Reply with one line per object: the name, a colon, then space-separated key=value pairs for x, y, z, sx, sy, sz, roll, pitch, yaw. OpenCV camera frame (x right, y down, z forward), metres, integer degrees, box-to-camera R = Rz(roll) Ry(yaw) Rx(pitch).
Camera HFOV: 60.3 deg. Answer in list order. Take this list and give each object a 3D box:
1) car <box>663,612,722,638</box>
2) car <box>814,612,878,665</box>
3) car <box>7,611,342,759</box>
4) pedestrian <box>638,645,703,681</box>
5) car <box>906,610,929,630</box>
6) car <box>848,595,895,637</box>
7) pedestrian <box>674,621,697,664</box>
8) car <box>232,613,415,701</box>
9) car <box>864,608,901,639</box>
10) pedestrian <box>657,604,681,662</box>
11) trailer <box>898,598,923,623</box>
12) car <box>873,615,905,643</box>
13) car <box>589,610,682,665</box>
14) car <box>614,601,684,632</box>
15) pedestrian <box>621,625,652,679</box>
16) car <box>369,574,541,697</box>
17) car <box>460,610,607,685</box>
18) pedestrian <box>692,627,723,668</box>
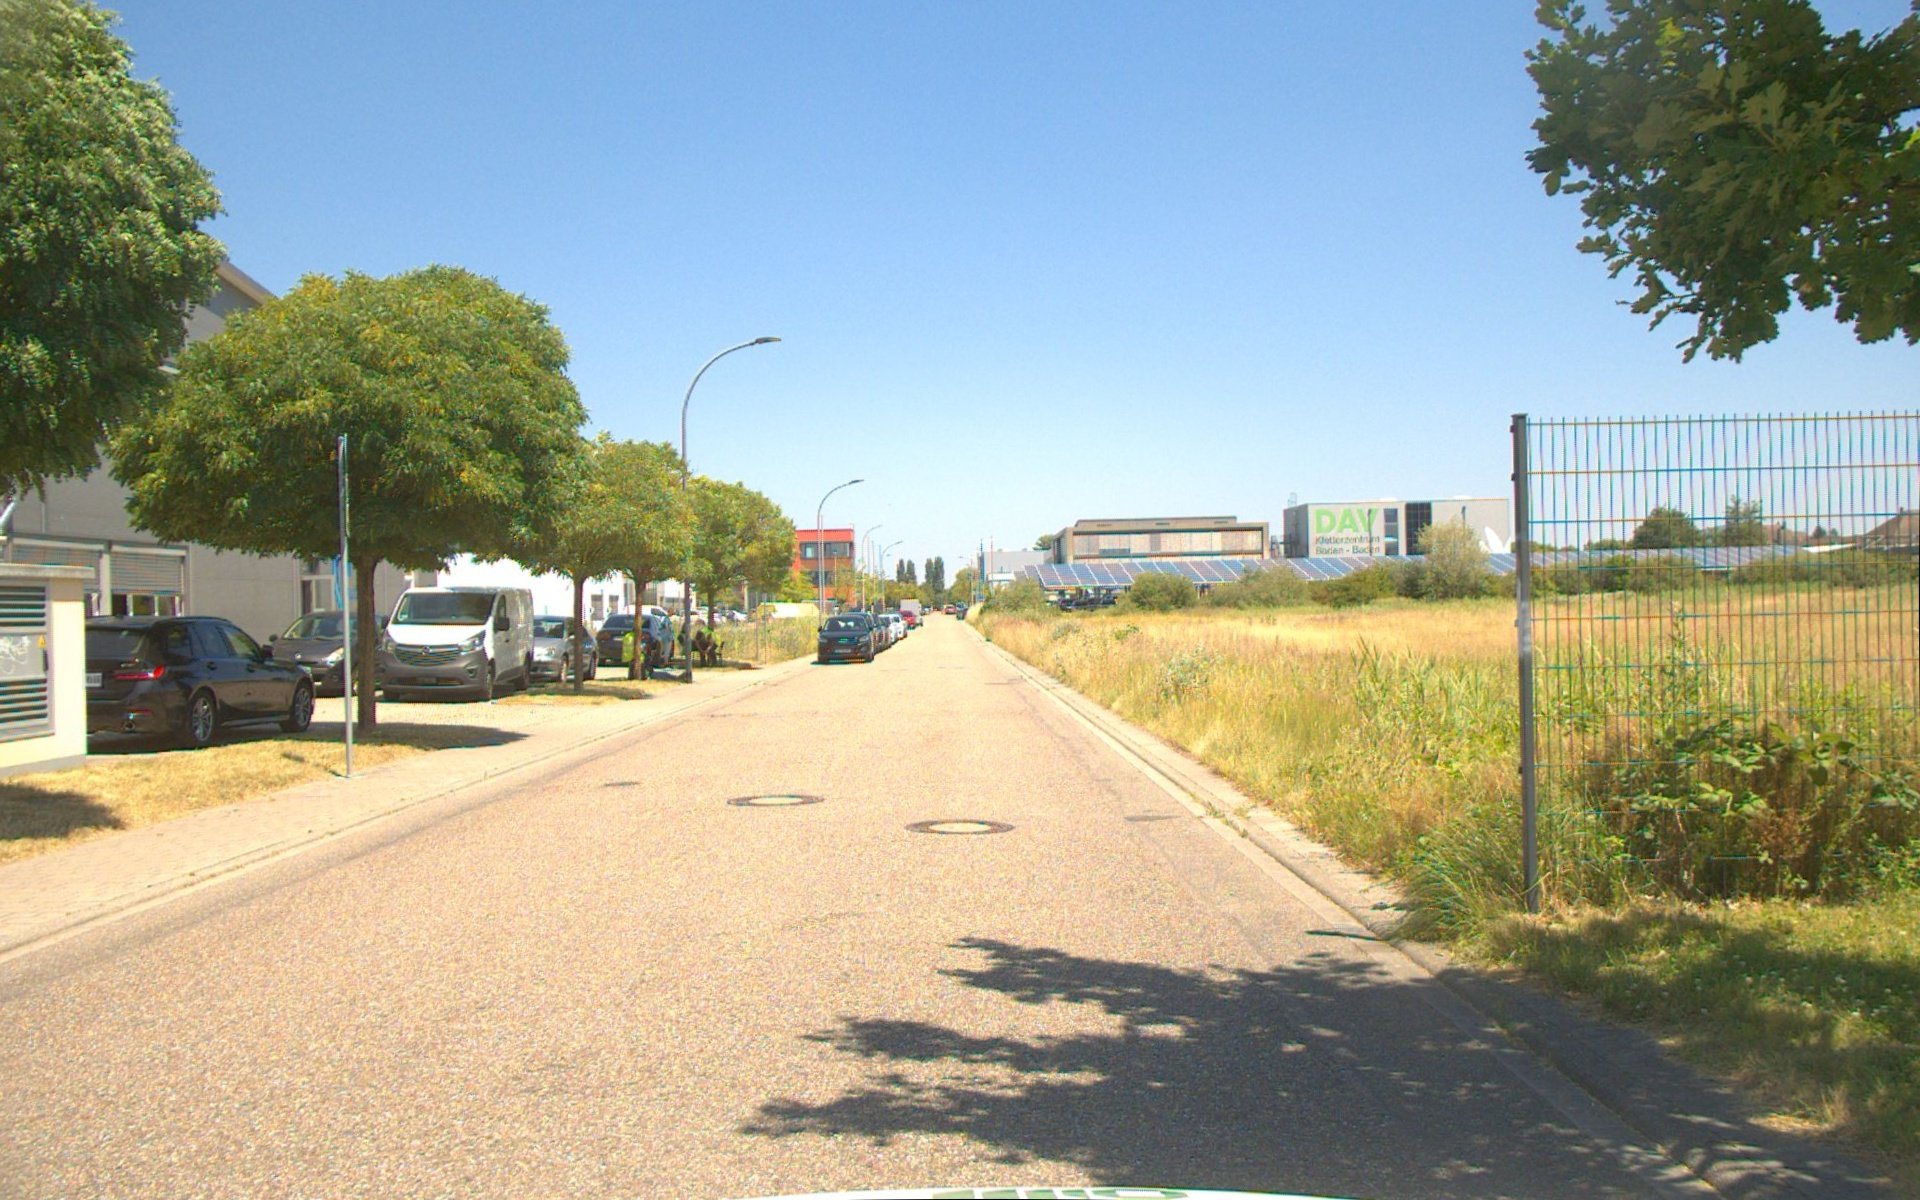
car: x=-21.893 y=2.064 z=135.393 sx=4.436 sy=1.977 sz=2.031 roll=-2 pitch=-1 yaw=0
car: x=-3.724 y=1.252 z=54.743 sx=1.888 sy=1.595 sz=4.188 roll=-2 pitch=0 yaw=-2
car: x=-9.056 y=0.899 z=19.574 sx=1.729 sy=1.479 sz=4.713 roll=-1 pitch=0 yaw=-1
pedestrian: x=-6.614 y=1.432 z=37.807 sx=1.330 sy=0.762 sz=0.753 roll=1 pitch=-1 yaw=1
car: x=-3.508 y=1.679 z=137.285 sx=1.750 sy=1.547 sz=3.982 roll=-2 pitch=0 yaw=-1
car: x=-3.774 y=0.668 z=71.131 sx=1.733 sy=1.692 sz=4.551 roll=-2 pitch=0 yaw=-1
pedestrian: x=-8.003 y=1.230 z=48.281 sx=0.495 sy=1.212 sz=0.753 roll=1 pitch=-1 yaw=2
car: x=-11.629 y=1.002 z=30.503 sx=1.888 sy=1.466 sz=4.085 roll=1 pitch=0 yaw=-2
car: x=-4.062 y=1.223 z=87.125 sx=1.750 sy=1.547 sz=3.982 roll=0 pitch=0 yaw=-1
pedestrian: x=-8.209 y=0.933 z=46.705 sx=0.495 sy=1.623 sz=0.753 roll=1 pitch=-1 yaw=2
trailer: x=-4.436 y=0.929 z=148.654 sx=2.156 sy=2.175 sz=4.285 roll=-2 pitch=-1 yaw=-1
car: x=-4.202 y=1.714 z=98.164 sx=1.750 sy=1.547 sz=3.982 roll=-2 pitch=0 yaw=-1
car: x=-9.417 y=1.068 z=48.365 sx=1.888 sy=1.490 sz=4.690 roll=1 pitch=0 yaw=-2
car: x=-21.634 y=1.128 z=115.082 sx=4.436 sy=1.977 sz=2.031 roll=-2 pitch=-1 yaw=0
pedestrian: x=-7.172 y=1.158 z=36.709 sx=0.468 sy=1.170 sz=0.555 roll=1 pitch=-3 yaw=9
car: x=-9.126 y=0.599 z=30.324 sx=1.800 sy=2.054 sz=5.123 roll=0 pitch=0 yaw=-3
car: x=-9.179 y=1.034 z=35.997 sx=1.887 sy=1.466 sz=4.840 roll=-2 pitch=-2 yaw=0
pedestrian: x=-7.127 y=1.333 z=46.740 sx=0.735 sy=1.118 sz=0.647 roll=1 pitch=-1 yaw=3
